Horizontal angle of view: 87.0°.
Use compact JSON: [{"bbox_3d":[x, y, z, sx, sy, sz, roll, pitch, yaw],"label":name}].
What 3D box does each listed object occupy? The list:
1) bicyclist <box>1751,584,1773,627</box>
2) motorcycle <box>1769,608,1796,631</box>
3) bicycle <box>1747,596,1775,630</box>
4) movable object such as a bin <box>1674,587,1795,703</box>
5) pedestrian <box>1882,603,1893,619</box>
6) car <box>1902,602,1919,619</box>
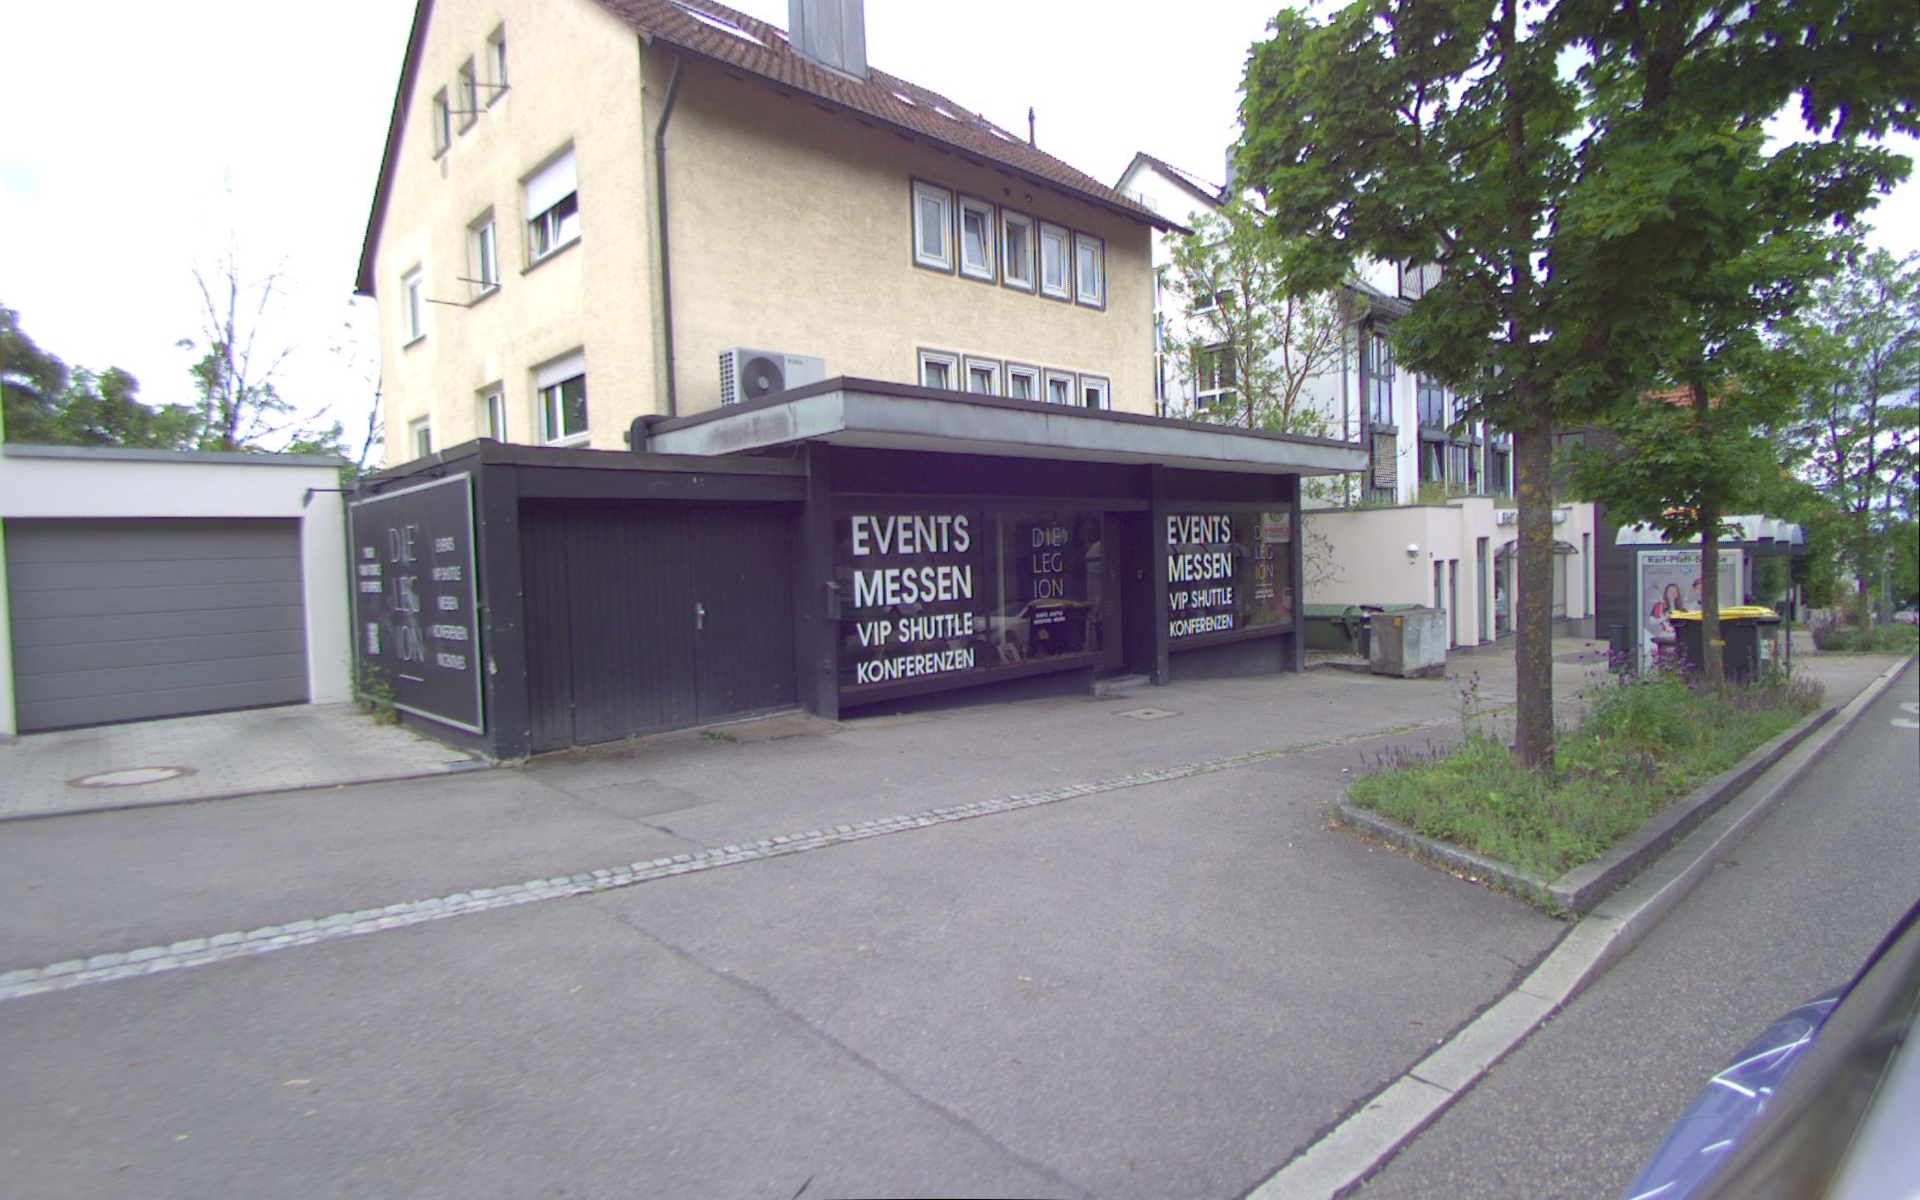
[{"bbox_3d":[31.095,0.222,39.235,0.931,1.654,0.538,1,-1,-43],"label":"bicyclist"},{"bbox_3d":[40.269,0.938,49.543,1.933,1.064,0.696,1,0,-42],"label":"motorcycle"},{"bbox_3d":[30.931,0.525,39.065,2.004,1.278,0.571,2,-1,-44],"label":"bicycle"},{"bbox_3d":[10.729,0.590,14.012,1.511,1.500,1.086,0,-1,-43],"label":"movable object such as a bin"},{"bbox_3d":[88.981,1.078,97.105,0.684,1.490,0.712,1,-2,-44],"label":"pedestrian"},{"bbox_3d":[95.277,1.012,100.827,3.934,1.672,1.919,0,-1,-45],"label":"car"}]
